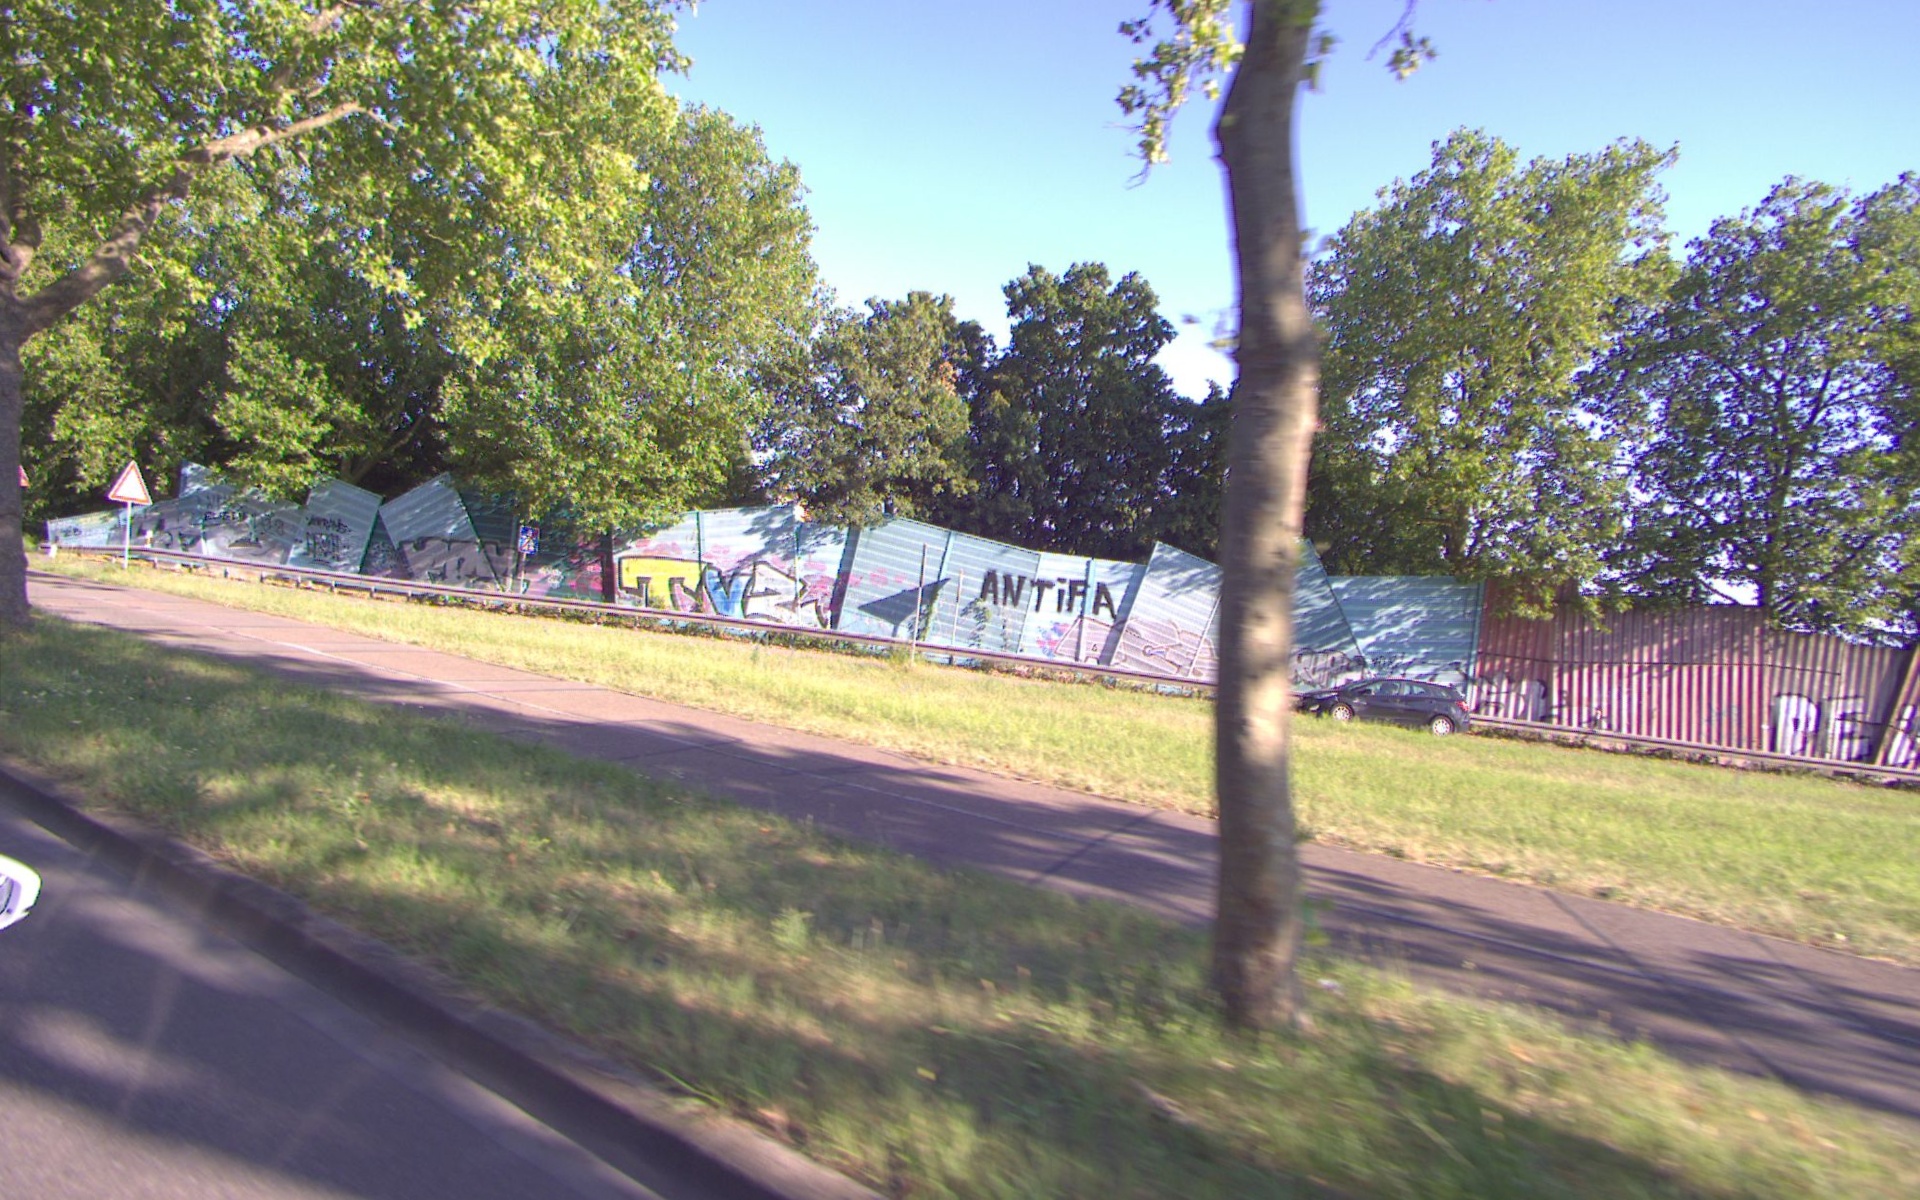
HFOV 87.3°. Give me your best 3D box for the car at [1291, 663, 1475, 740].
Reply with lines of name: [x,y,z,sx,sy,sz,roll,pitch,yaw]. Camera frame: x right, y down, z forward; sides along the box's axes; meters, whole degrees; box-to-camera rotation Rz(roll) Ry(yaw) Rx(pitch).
car: [11.380,2.714,27.306,4.143,1.457,1.800,7,-1,6]
